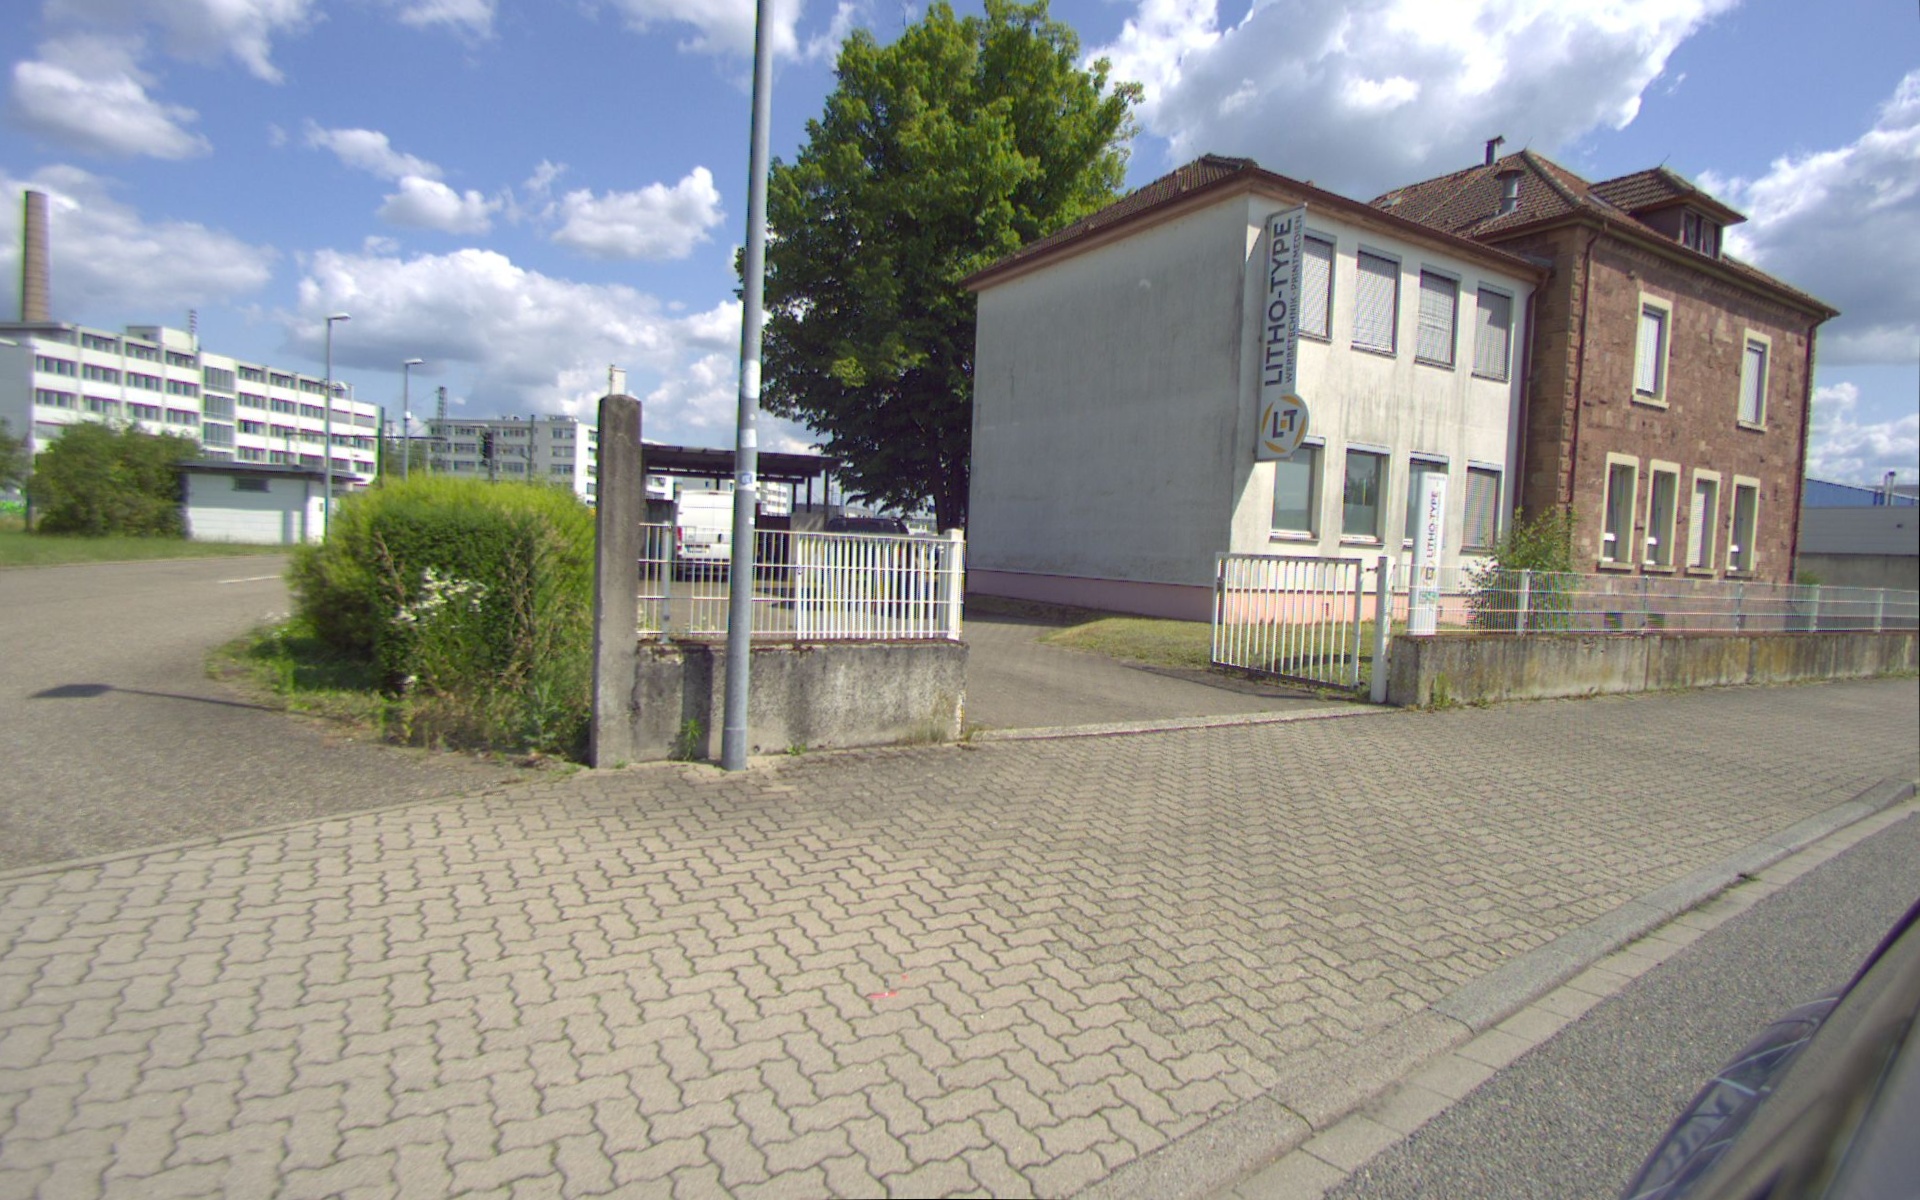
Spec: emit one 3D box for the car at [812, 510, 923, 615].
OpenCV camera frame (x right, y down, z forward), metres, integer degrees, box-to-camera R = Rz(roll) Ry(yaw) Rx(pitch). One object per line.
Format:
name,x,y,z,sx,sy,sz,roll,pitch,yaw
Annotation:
car,-1.803,-0.805,20.802,1.770,1.853,4.001,3,3,1

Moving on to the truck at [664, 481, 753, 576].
truck,-7.454,-2.080,29.617,1.958,2.453,4.757,2,3,-20
